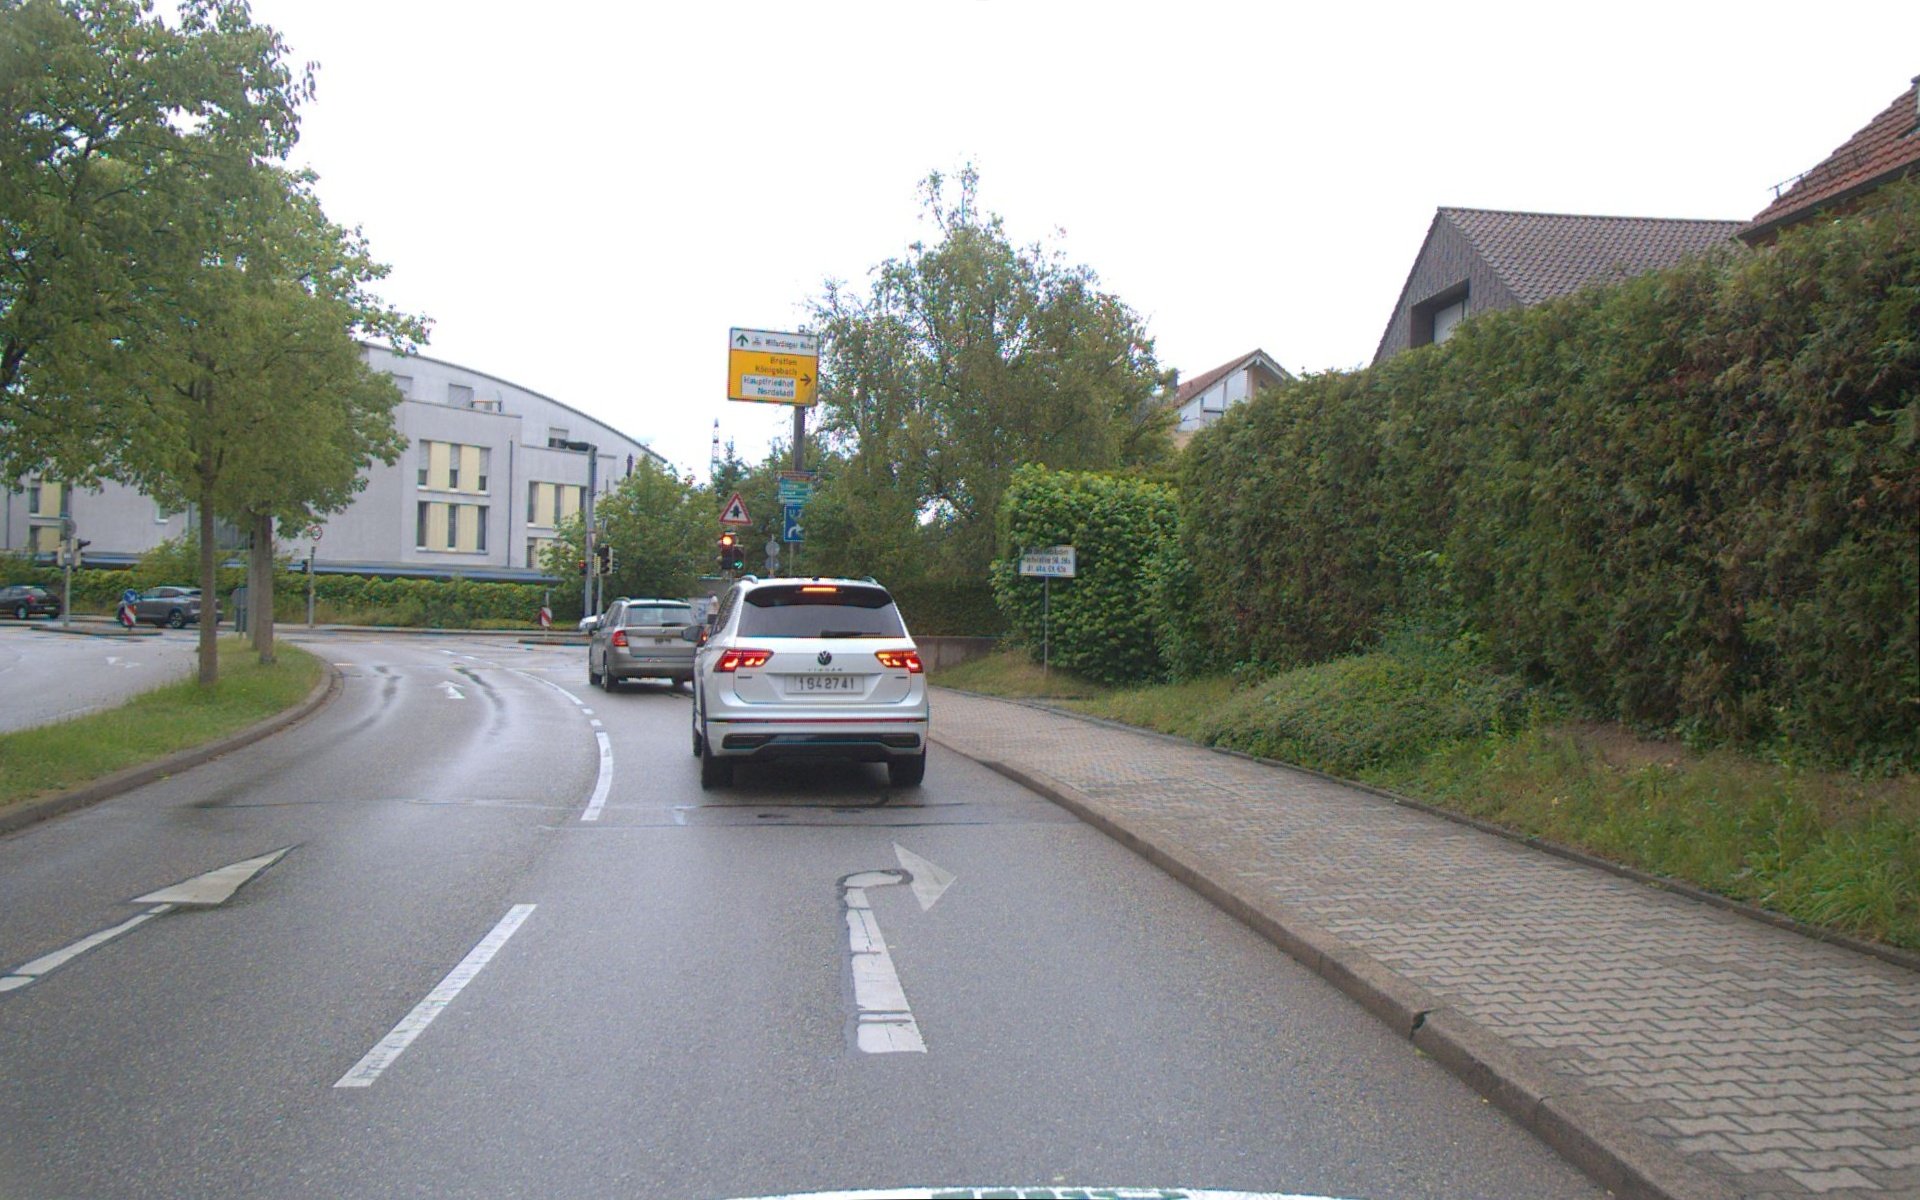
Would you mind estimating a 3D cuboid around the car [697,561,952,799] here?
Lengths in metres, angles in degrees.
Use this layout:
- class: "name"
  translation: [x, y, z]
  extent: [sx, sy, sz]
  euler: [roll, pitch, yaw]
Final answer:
- class: "car"
  translation: [-1.316, 0.591, 14.440]
  extent: [1.885, 1.752, 4.256]
  euler: [1, 0, -9]

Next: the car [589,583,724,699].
- class: "car"
  translation: [-5.116, 0.630, 27.526]
  extent: [1.737, 1.535, 3.984]
  euler: [4, 2, -16]

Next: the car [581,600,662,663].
- class: "car"
  translation: [-8.273, 0.742, 40.372]
  extent: [1.818, 1.454, 3.987]
  euler: [1, 0, -12]

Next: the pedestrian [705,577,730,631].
- class: "pedestrian"
  translation: [-9.568, 0.153, 65.257]
  extent: [0.787, 2.048, 0.845]
  euler: [1, 3, -20]

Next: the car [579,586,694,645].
- class: "car"
  translation: [-11.792, 0.541, 60.391]
  extent: [3.917, 1.788, 1.995]
  euler: [4, 2, -12]

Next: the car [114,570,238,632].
- class: "car"
  translation: [-30.512, 0.006, 64.433]
  extent: [3.904, 2.048, 1.982]
  euler: [5, 2, 14]

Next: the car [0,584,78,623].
- class: "car"
  translation: [-41.660, 0.138, 73.988]
  extent: [3.910, 1.582, 1.998]
  euler: [2, 1, 27]

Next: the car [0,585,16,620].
- class: "car"
  translation: [-45.634, 0.033, 76.026]
  extent: [3.910, 1.583, 1.998]
  euler: [2, 0, 27]
